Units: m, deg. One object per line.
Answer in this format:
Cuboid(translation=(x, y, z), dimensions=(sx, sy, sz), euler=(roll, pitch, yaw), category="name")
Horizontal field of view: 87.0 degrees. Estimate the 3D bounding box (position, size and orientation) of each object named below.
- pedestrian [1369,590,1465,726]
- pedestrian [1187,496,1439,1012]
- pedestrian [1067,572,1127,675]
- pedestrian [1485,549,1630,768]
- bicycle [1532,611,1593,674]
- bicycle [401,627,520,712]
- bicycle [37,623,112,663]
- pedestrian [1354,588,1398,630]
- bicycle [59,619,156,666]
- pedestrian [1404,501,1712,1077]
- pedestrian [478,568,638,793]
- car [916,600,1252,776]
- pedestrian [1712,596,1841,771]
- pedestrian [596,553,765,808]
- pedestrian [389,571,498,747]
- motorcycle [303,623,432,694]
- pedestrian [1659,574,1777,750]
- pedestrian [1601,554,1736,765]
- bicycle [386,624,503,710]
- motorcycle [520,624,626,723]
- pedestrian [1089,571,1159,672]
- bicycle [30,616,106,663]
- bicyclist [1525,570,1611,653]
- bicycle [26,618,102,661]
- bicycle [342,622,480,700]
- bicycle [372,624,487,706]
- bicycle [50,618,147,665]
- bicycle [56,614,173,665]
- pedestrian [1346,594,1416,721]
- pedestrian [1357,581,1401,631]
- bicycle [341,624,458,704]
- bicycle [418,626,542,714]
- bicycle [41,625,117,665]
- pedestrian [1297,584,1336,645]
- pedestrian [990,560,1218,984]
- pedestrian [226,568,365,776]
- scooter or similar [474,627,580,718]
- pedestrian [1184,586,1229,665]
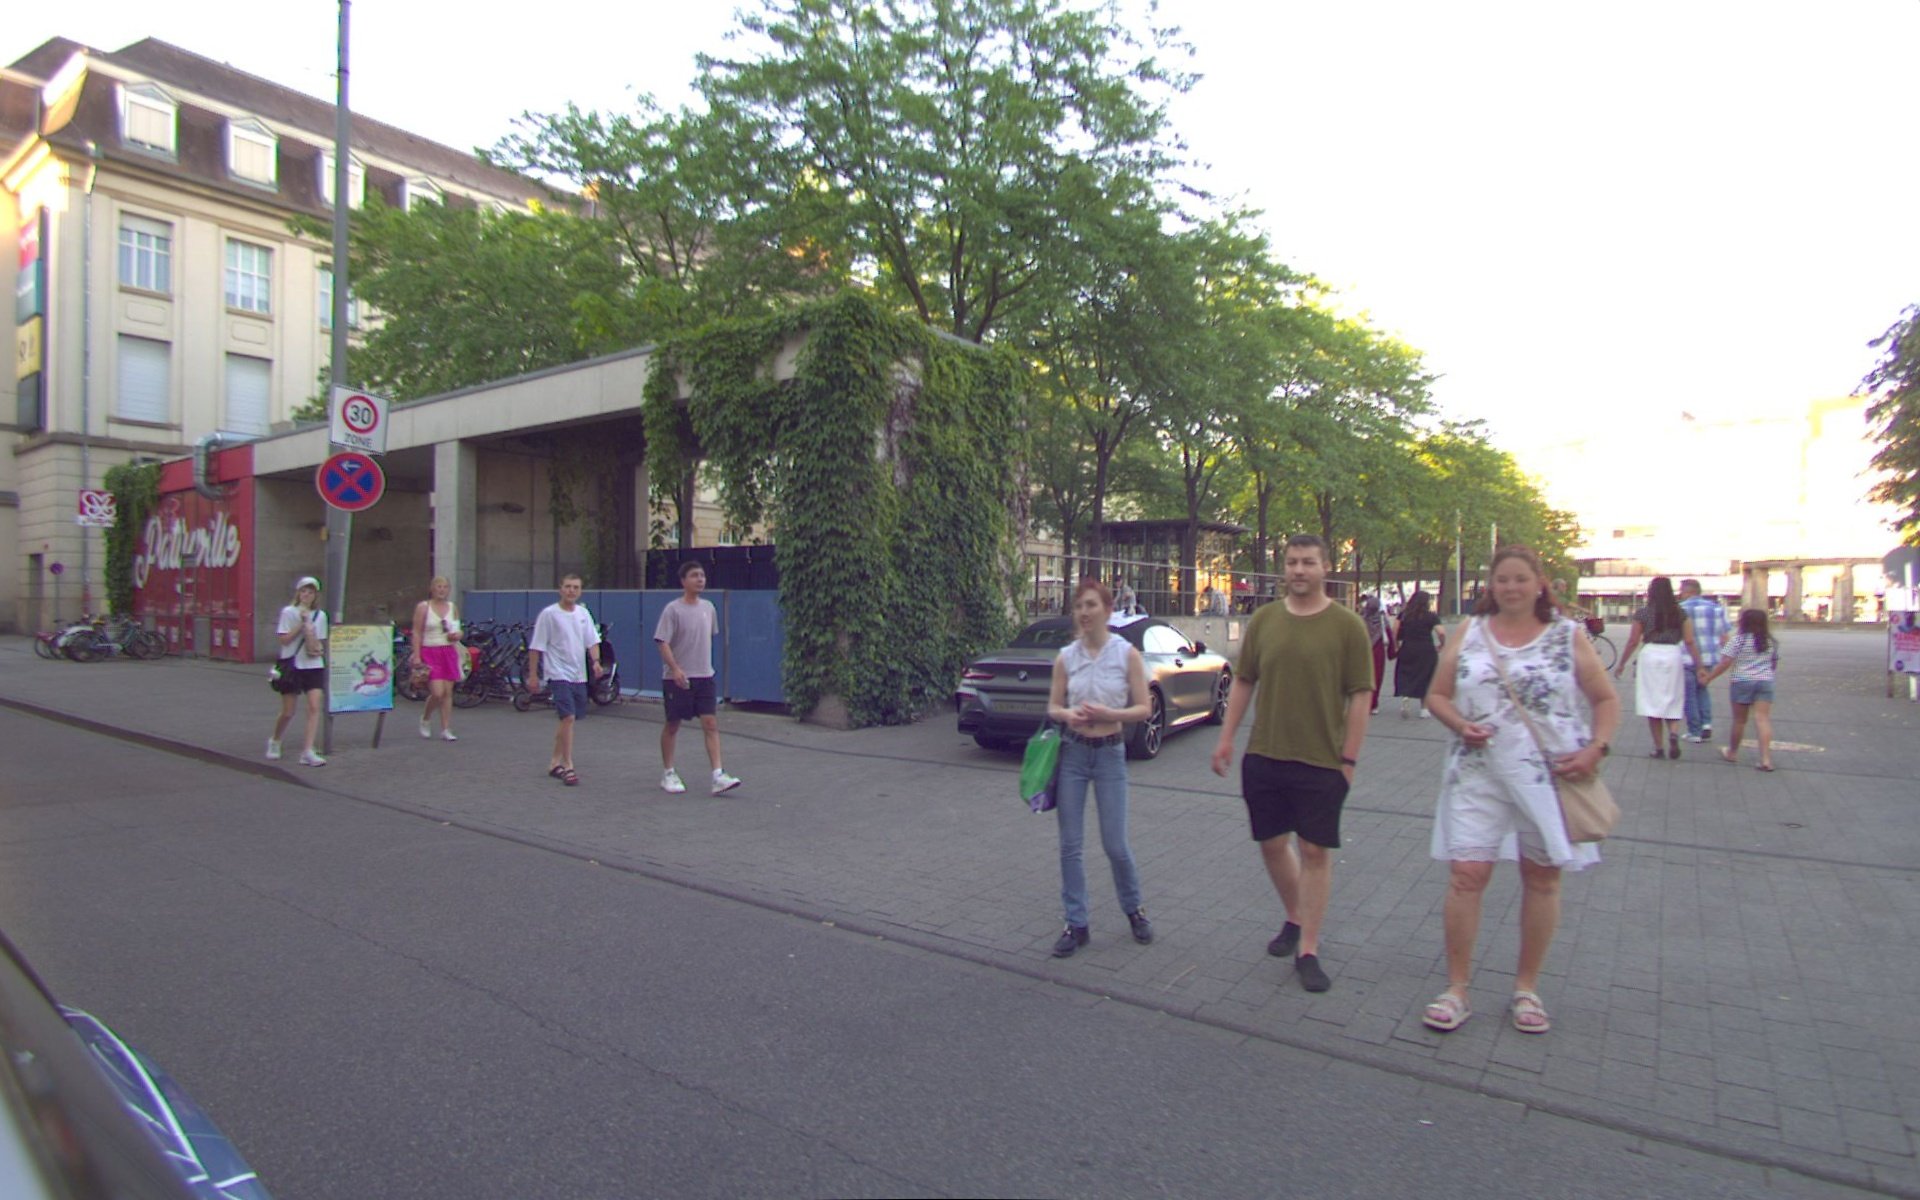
Cuboid(translation=(5.609, 0.680, 12.441), dimensions=(0.718, 1.594, 0.801), euler=(-1, 0, -34), category="pedestrian")
Cuboid(translation=(1.487, 0.562, 4.237), dimensions=(0.849, 1.891, 0.707), euler=(-1, 0, 33), category="pedestrian")
Cuboid(translation=(2.471, 0.412, 18.242), dimensions=(0.796, 1.795, 0.752), euler=(0, 0, 38), category="pedestrian")
Cuboid(translation=(5.381, 0.496, 9.189), dimensions=(0.978, 1.867, 0.884), euler=(-1, 0, 22), category="pedestrian")
Cuboid(translation=(11.398, 0.758, 19.131), dimensions=(0.948, 1.110, 2.304), euler=(0, -1, 32), category="bicycle")
Cuboid(translation=(-6.974, 0.939, 14.194), dimensions=(0.441, 1.077, 1.481), euler=(-1, 0, 33), category="bicycle")
Cuboid(translation=(-23.321, 1.125, 26.677), dimensions=(0.311, 0.986, 1.487), euler=(-1, 0, 28), category="bicycle")
Cuboid(translation=(13.941, 0.304, 33.912), dimensions=(1.264, 1.390, 0.729), euler=(0, -1, 33), category="pedestrian")
Cuboid(translation=(-21.139, 1.036, 25.122), dimensions=(0.354, 1.091, 1.820), euler=(0, 0, 42), category="bicycle")
Cuboid(translation=(2.158, 0.594, 3.720), dimensions=(0.879, 1.816, 0.707), euler=(-1, 0, 30), category="pedestrian")
Cuboid(translation=(-3.484, 0.640, 8.793), dimensions=(0.889, 1.807, 0.972), euler=(0, 0, 38), category="pedestrian")
Cuboid(translation=(1.585, 0.757, 11.046), dimensions=(2.098, 1.441, 4.404), euler=(0, 0, 30), category="car")
Cuboid(translation=(7.286, 0.718, 9.061), dimensions=(0.597, 1.497, 0.715), euler=(-1, 0, 7), category="pedestrian")
Cuboid(translation=(-2.252, 0.592, 8.194), dimensions=(0.889, 1.898, 0.972), euler=(0, 0, 38), category="pedestrian")
Cuboid(translation=(-5.566, 0.600, 10.916), dimensions=(0.736, 1.807, 0.802), euler=(-1, 0, 38), category="pedestrian")
Cuboid(translation=(-9.819, 0.952, 16.830), dimensions=(1.797, 1.077, 0.535), euler=(-1, 0, -25), category="motorcycle")
Cuboid(translation=(7.819, 0.618, 10.474), dimensions=(0.707, 1.759, 0.686), euler=(-1, 0, 7), category="pedestrian")
Cuboid(translation=(6.669, 0.526, 9.543), dimensions=(0.702, 1.889, 0.784), euler=(-1, 0, -25), category="pedestrian")
Cuboid(translation=(-7.312, 0.923, 14.406), dimensions=(0.410, 1.120, 1.481), euler=(-1, 0, 33), category="bicycle")
Cuboid(translation=(-5.003, 0.918, 13.207), dimensions=(0.530, 1.135, 1.826), euler=(-1, 0, 5), category="motorcycle")
Cuboid(translation=(3.076, 0.396, 19.034), dimensions=(1.120, 1.833, 0.694), euler=(0, 0, 35), category="pedestrian")
Cuboid(translation=(-23.612, 1.031, 26.822), dimensions=(0.311, 1.149, 1.487), euler=(-1, 0, 28), category="bicycle")
Cuboid(translation=(11.468, 0.215, 19.117), dimensions=(1.377, 1.521, 0.745), euler=(0, -1, 32), category="bicyclist")
Cuboid(translation=(-23.897, 1.046, 27.014), dimensions=(0.311, 1.084, 1.487), euler=(-1, 0, 28), category="bicycle")
Cuboid(translation=(-8.621, 0.926, 15.966), dimensions=(0.549, 1.095, 1.849), euler=(0, 0, 38), category="bicycle")
Cuboid(translation=(-7.754, 0.925, 14.858), dimensions=(0.410, 1.096, 1.481), euler=(-1, 0, 33), category="bicycle")
Cuboid(translation=(-21.543, 1.014, 25.336), dimensions=(0.354, 1.091, 1.820), euler=(0, 0, 42), category="bicycle")
Cuboid(translation=(-20.808, 0.954, 24.953), dimensions=(0.445, 1.164, 2.152), euler=(0, 0, 42), category="bicycle")
Cuboid(translation=(5.357, 0.704, 12.868), dimensions=(0.679, 1.554, 0.585), euler=(-1, 0, 38), category="pedestrian")
Cuboid(translation=(14.360, 0.207, 34.684), dimensions=(1.264, 1.660, 0.700), euler=(0, -1, 34), category="pedestrian")
Cuboid(translation=(-8.462, 0.940, 15.314), dimensions=(0.436, 1.096, 1.476), euler=(0, 0, 43), category="bicycle")
Cuboid(translation=(-6.586, 0.930, 13.939), dimensions=(0.546, 1.096, 1.481), euler=(-1, 0, 33), category="bicycle")
Cuboid(translation=(-23.060, 1.161, 26.509), dimensions=(0.311, 0.963, 1.487), euler=(-1, 0, 28), category="bicycle")
Cuboid(translation=(10.456, 0.413, 29.663), dimensions=(0.919, 1.740, 0.694), euler=(0, 0, 35), category="pedestrian")
Cuboid(translation=(0.584, 0.684, 4.384), dimensions=(0.870, 1.681, 0.714), euler=(-1, 0, 1), category="pedestrian")
Cuboid(translation=(-6.163, 0.621, 9.394), dimensions=(0.868, 1.807, 0.841), euler=(0, 0, 39), category="pedestrian")
Cuboid(translation=(-5.752, 0.935, 13.512), dimensions=(0.407, 1.096, 1.488), euler=(-1, 0, 18), category="scooter or similar")
Cuboid(translation=(5.544, 0.561, 22.752), dimensions=(0.802, 1.740, 0.616), euler=(0, -1, 35), category="pedestrian")
